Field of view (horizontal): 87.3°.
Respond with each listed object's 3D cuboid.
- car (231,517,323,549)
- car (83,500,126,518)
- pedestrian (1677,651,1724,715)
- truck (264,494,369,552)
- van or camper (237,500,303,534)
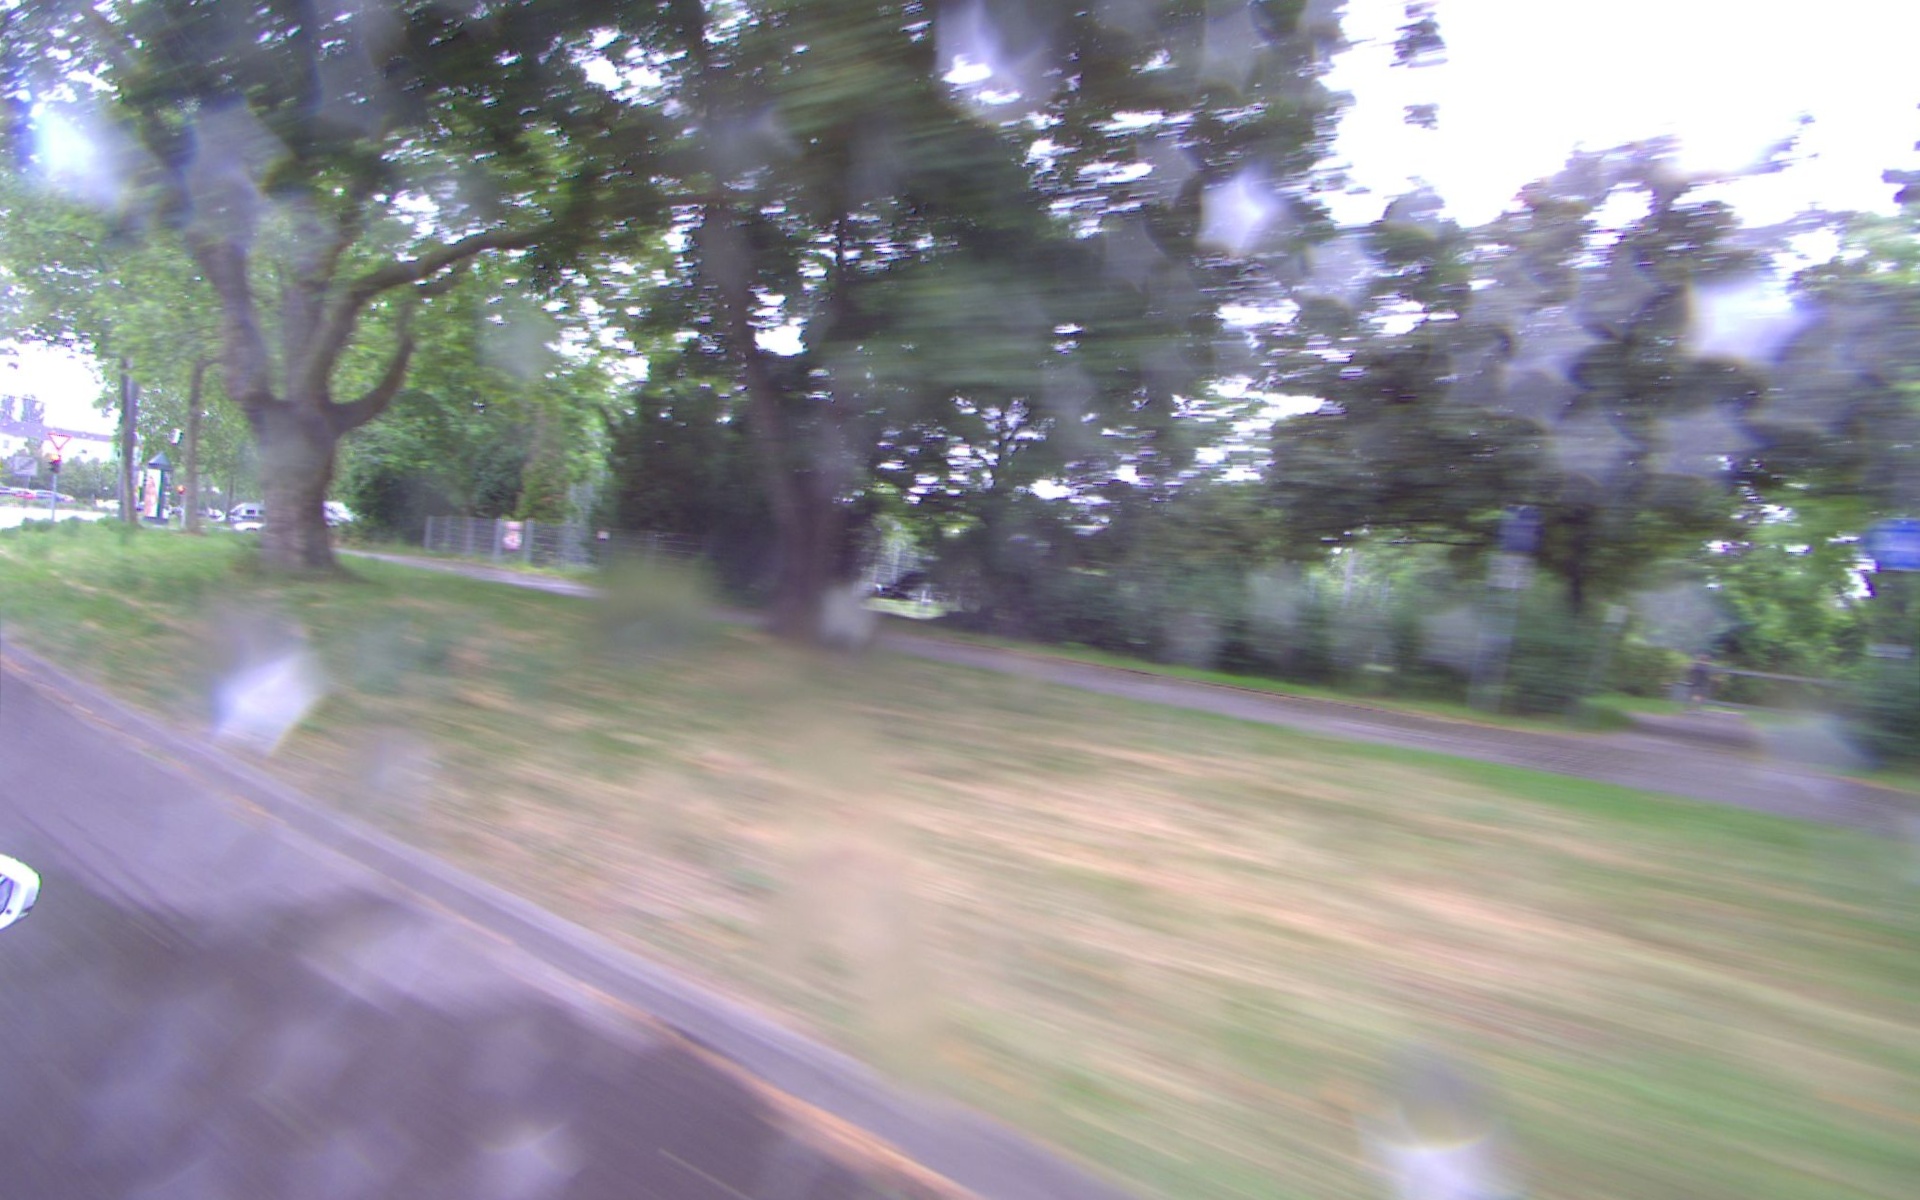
[{"bbox_3d":[-42.946,-4.212,63.329,1.623,1.407,4.500,7,0,44],"label":"car"},{"bbox_3d":[-112.634,-11.964,132.455,1.651,1.883,4.125,7,1,43],"label":"car"},{"bbox_3d":[21.434,2.394,29.140,0.840,1.716,1.032,7,2,33],"label":"pedestrian"},{"bbox_3d":[-43.031,-5.133,67.402,1.955,3.096,5.455,7,0,44],"label":"truck"},{"bbox_3d":[-72.731,-8.720,106.116,5.173,2.730,2.230,8,0,-24],"label":"van or camper"}]
